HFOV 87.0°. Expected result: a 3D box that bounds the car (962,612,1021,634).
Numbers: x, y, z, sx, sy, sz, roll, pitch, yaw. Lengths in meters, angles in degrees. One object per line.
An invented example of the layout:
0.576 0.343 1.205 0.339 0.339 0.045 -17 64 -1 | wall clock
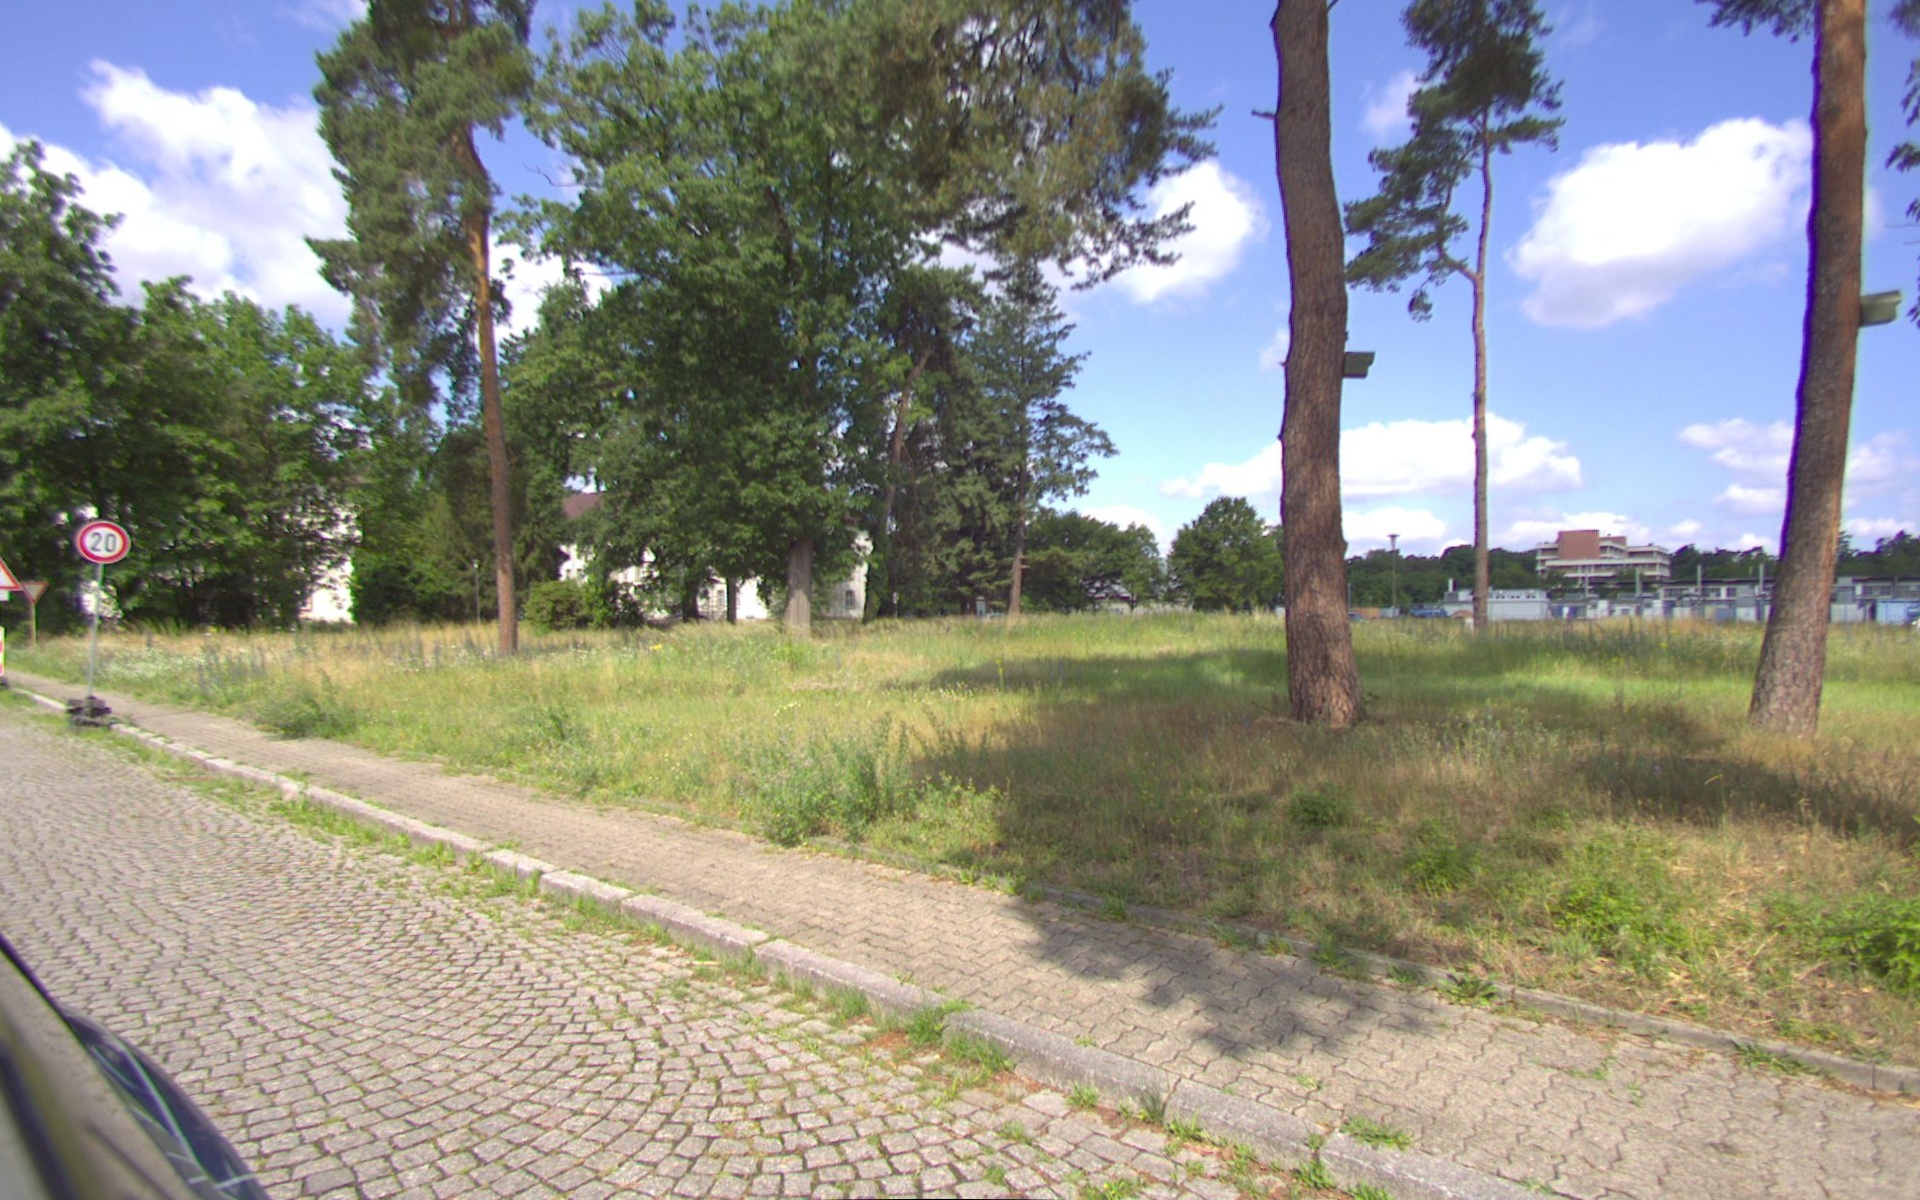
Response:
2.160 1.525 67.835 1.899 1.423 4.017 -1 -2 40 | car

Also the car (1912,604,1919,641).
36.209 0.819 36.921 1.899 1.359 4.017 -1 -2 40 | car
